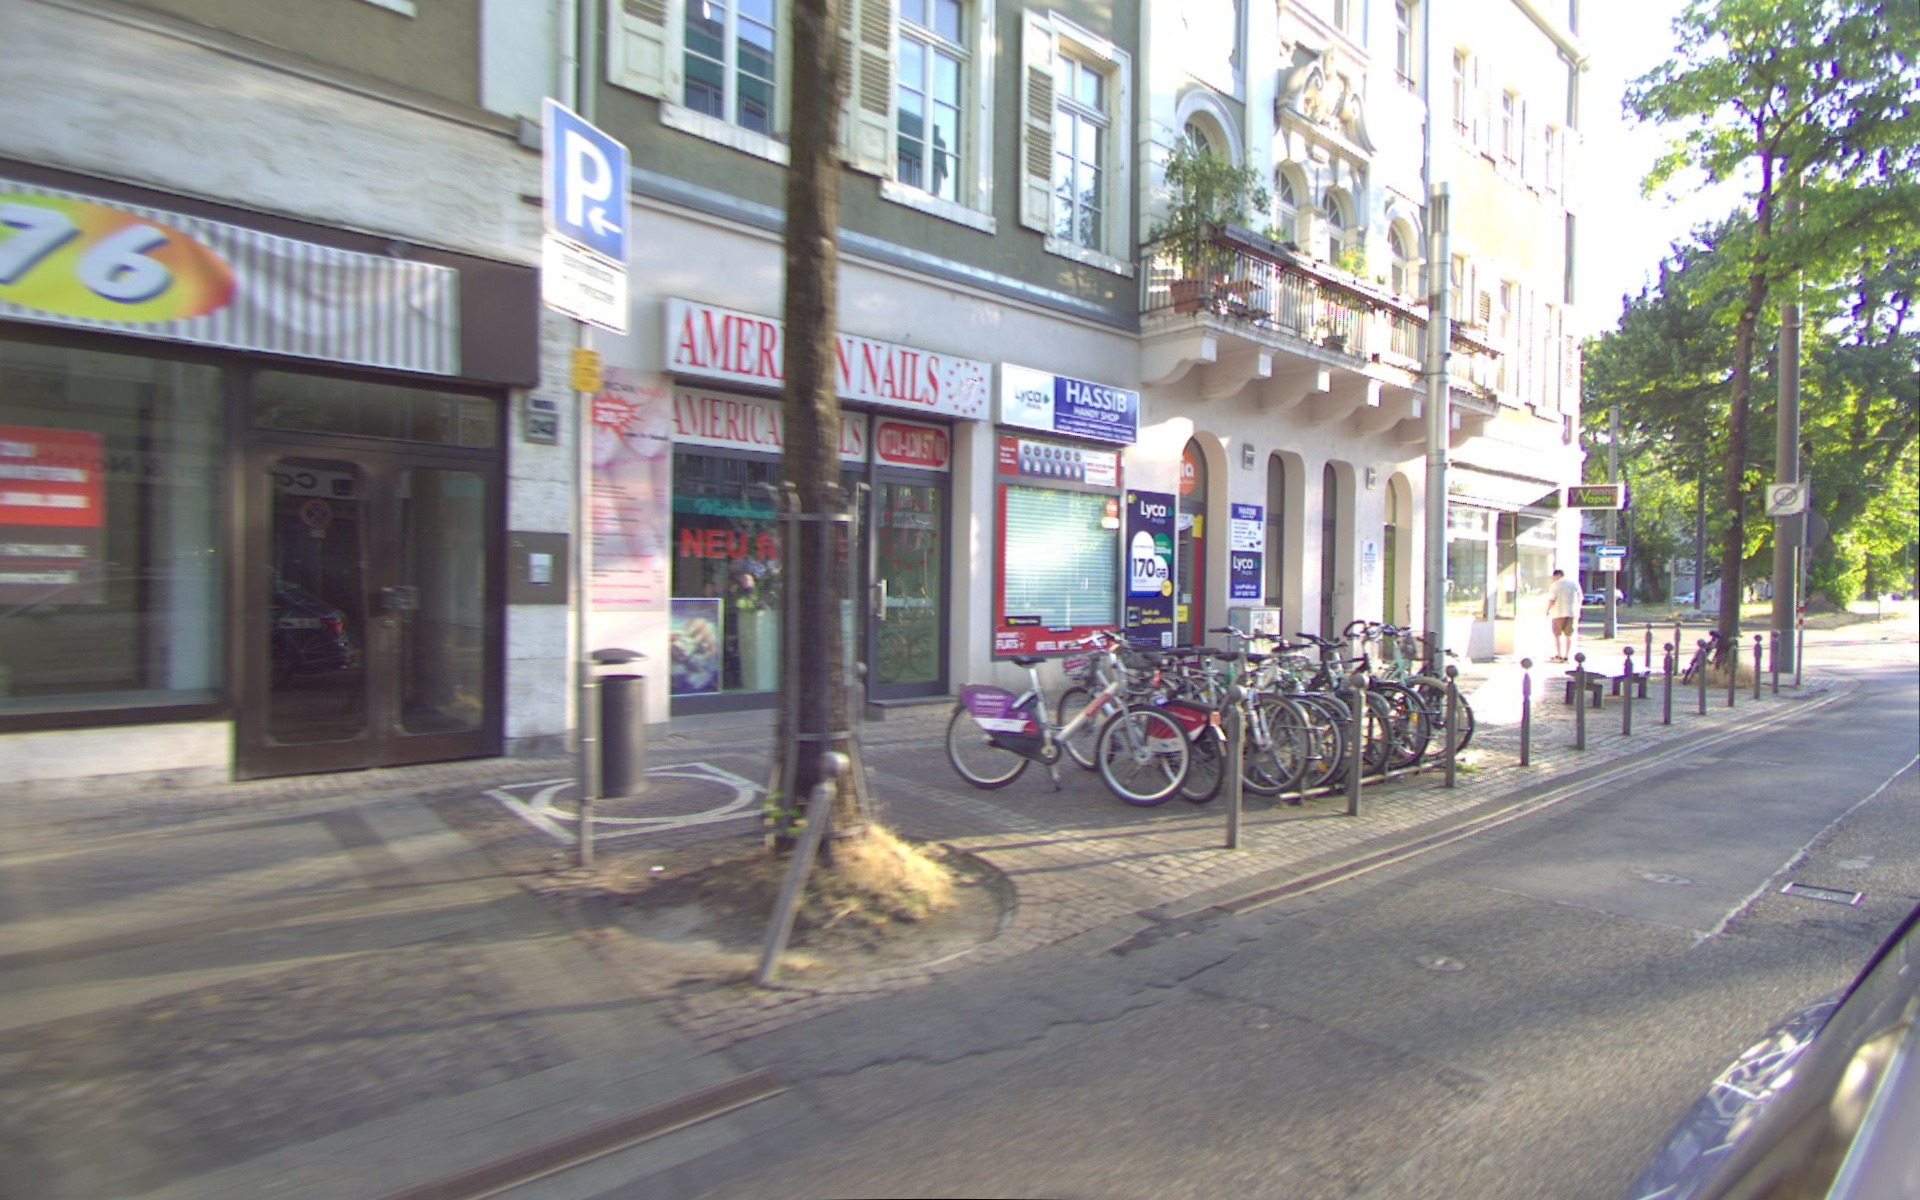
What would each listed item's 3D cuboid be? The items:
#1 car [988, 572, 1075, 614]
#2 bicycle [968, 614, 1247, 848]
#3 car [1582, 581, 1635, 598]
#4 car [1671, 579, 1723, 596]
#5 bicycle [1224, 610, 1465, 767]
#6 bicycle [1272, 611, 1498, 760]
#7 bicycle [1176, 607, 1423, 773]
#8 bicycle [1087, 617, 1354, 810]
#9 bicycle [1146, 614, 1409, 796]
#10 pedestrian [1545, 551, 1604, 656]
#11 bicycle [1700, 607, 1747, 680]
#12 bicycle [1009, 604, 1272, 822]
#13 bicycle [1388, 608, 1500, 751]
[{"bbox_3d":[3.656,-0.331,52.331,1.965,2.039,4.430,-1,0,-40],"label":"car"},{"bbox_3d":[0.853,0.725,6.392,0.552,1.168,1.871,-1,3,-38],"label":"bicycle"},{"bbox_3d":[65.983,-1.061,103.007,4.429,1.626,2.004,-1,0,-14],"label":"car"},{"bbox_3d":[77.301,-1.275,106.171,4.429,1.626,2.004,-1,0,-14],"label":"car"},{"bbox_3d":[3.197,0.680,8.587,0.552,1.169,1.870,-1,0,-38],"label":"bicycle"},{"bbox_3d":[3.661,0.690,8.885,0.341,1.169,1.870,-1,0,-38],"label":"bicycle"},{"bbox_3d":[2.663,0.654,8.139,0.552,1.169,1.870,-1,0,-38],"label":"bicycle"},{"bbox_3d":[1.784,0.722,7.211,0.552,1.169,1.870,-1,0,-38],"label":"bicycle"},{"bbox_3d":[2.294,0.702,7.546,0.552,1.169,1.870,-1,0,-38],"label":"bicycle"},{"bbox_3d":[12.353,0.062,20.341,0.843,2.039,0.831,-1,0,42],"label":"pedestrian"},{"bbox_3d":[12.490,0.683,16.543,1.671,1.090,0.354,-2,0,-44],"label":"bicycle"},{"bbox_3d":[1.178,0.691,7.033,0.552,1.168,1.872,-1,5,-38],"label":"bicycle"},{"bbox_3d":[4.448,0.681,9.399,0.454,1.169,1.677,-1,0,9],"label":"bicycle"}]
